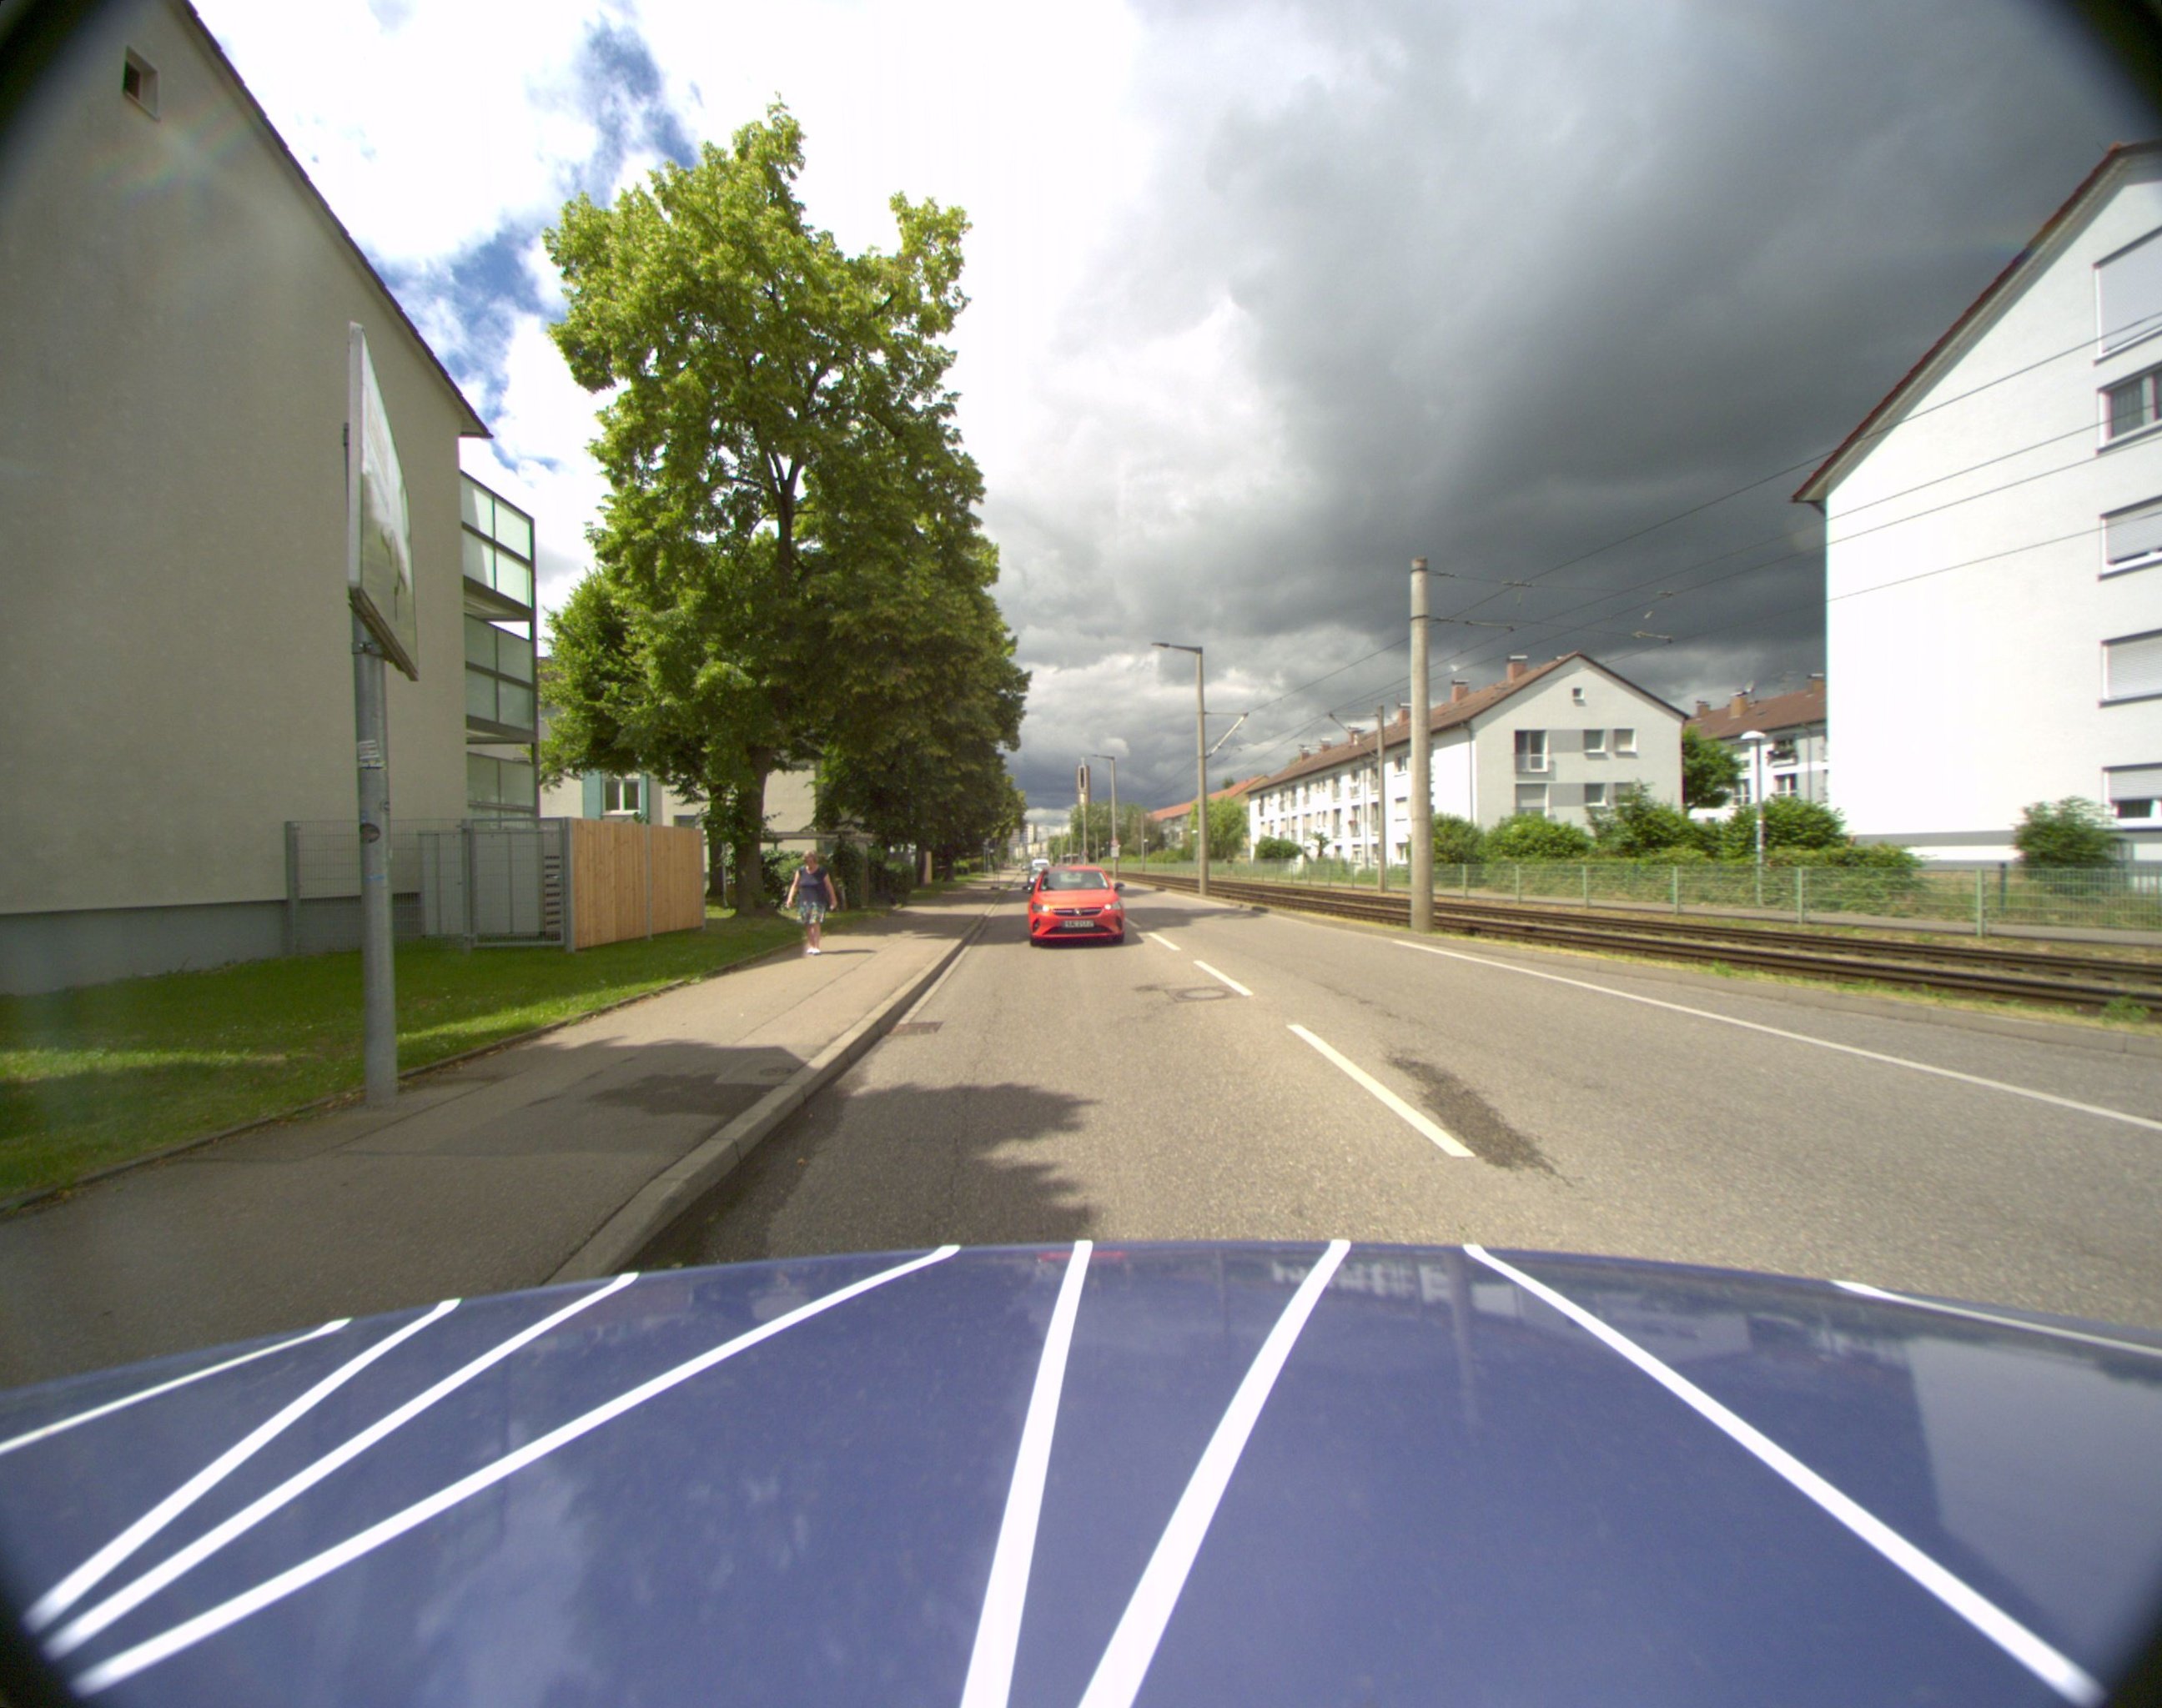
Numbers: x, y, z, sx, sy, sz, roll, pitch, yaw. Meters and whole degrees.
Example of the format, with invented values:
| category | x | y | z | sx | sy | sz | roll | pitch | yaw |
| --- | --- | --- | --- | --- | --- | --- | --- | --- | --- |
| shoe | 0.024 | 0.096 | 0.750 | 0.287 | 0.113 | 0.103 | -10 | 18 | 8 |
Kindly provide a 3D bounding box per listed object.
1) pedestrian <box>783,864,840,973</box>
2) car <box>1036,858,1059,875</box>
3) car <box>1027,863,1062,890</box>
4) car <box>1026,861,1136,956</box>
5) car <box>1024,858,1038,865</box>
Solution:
| category | x | y | z | sx | sy | sz | roll | pitch | yaw |
| --- | --- | --- | --- | --- | --- | --- | --- | --- | --- |
| pedestrian | -4.235 | 0.988 | 11.968 | 0.684 | 1.650 | 0.831 | -1 | -1 | -9 |
| car | -3.239 | 1.155 | 72.807 | 1.999 | 1.598 | 3.998 | 0 | 0 | -6 |
| car | -2.005 | 1.234 | 42.843 | 1.764 | 1.389 | 4.000 | 0 | 0 | 0 |
| car | -0.136 | 0.951 | 15.002 | 1.766 | 1.548 | 3.998 | -2 | 0 | -5 |
| car | -9.157 | 1.346 | 138.852 | 1.918 | 1.309 | 4.001 | 0 | 0 | 4 |
